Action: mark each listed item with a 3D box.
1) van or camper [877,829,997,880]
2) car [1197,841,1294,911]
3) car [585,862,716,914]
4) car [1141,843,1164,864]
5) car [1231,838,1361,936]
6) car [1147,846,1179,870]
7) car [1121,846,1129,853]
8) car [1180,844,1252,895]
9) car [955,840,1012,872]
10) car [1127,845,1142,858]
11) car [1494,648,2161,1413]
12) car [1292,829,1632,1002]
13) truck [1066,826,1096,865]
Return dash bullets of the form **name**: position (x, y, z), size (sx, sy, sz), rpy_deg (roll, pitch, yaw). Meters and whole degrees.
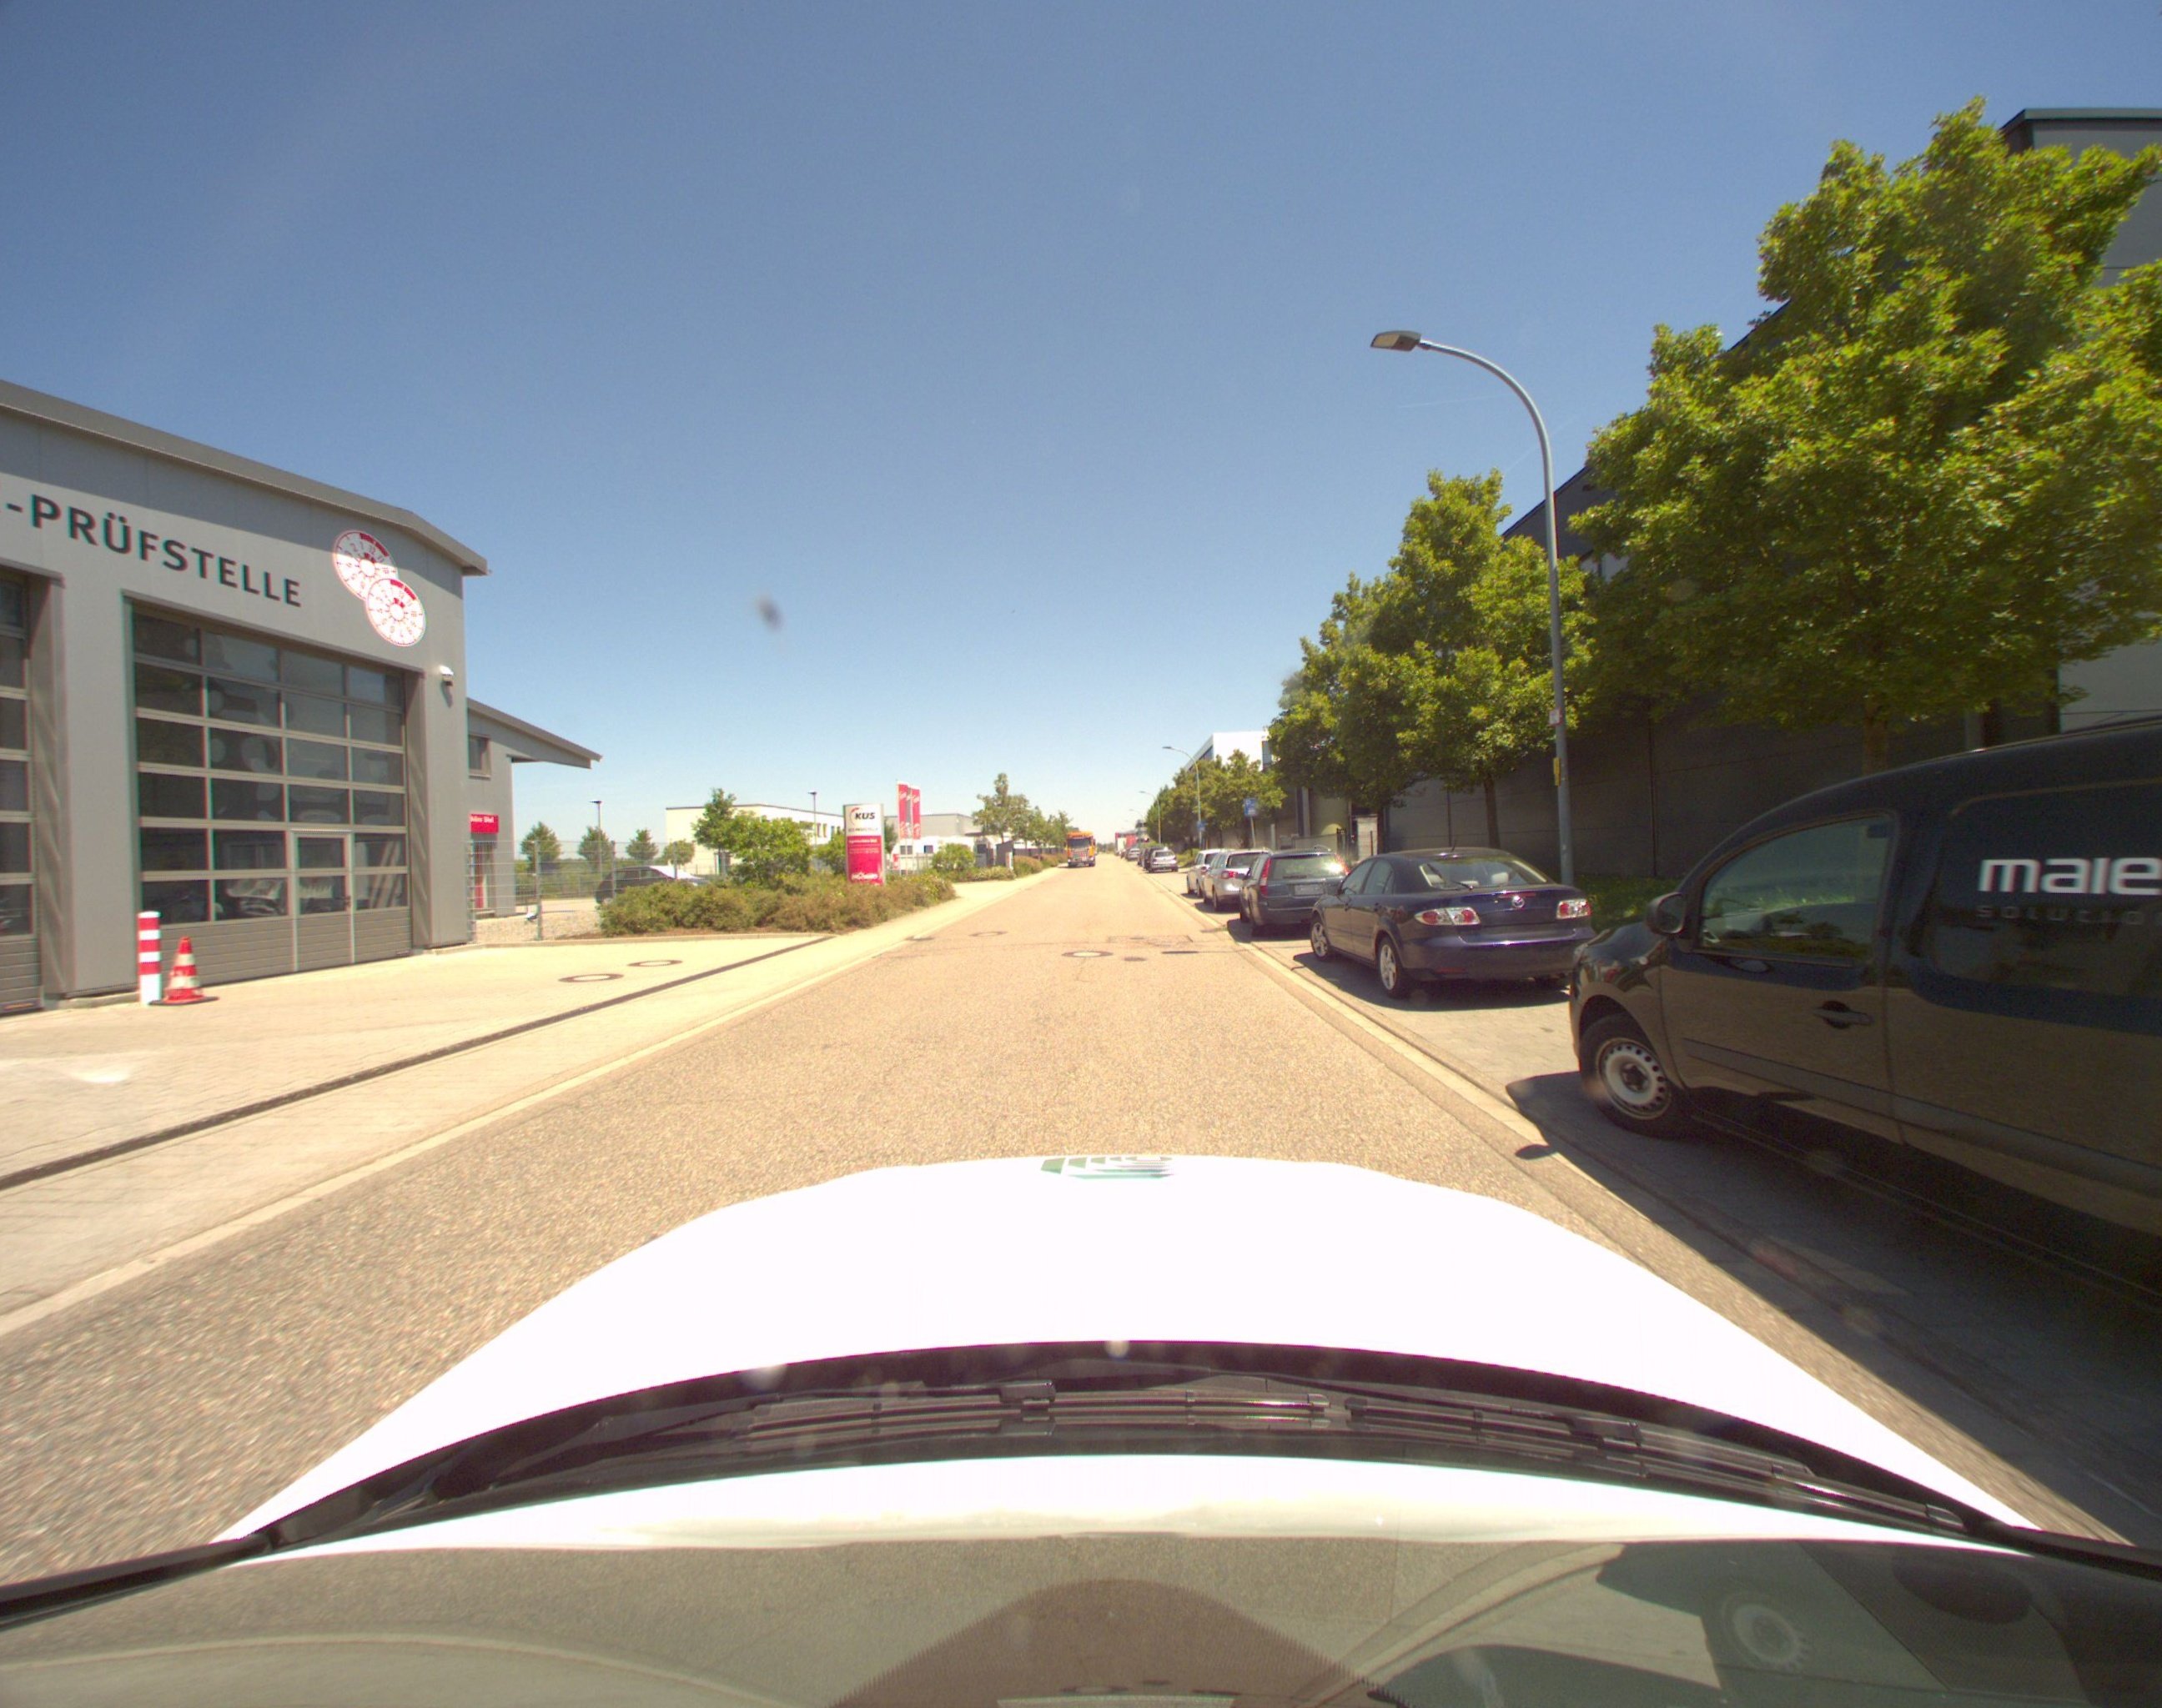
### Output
- **van or camper**: position (-9.532, 0.026, 54.475), size (7.359, 3.037, 2.791), rpy_deg (-2, 0, 1)
- **car**: position (4.140, 0.509, 21.209), size (1.741, 1.562, 4.509), rpy_deg (-3, 0, 3)
- **car**: position (-14.407, 1.116, 27.391), size (3.493, 1.552, 1.556), rpy_deg (-2, 0, -3)
- **car**: position (6.138, -0.029, 70.048), size (1.715, 1.694, 3.987), rpy_deg (-2, 0, 3)
- **car**: position (3.867, 0.537, 15.390), size (1.700, 1.504, 4.715), rpy_deg (-3, -1, 7)
- **car**: position (5.241, 0.246, 52.249), size (1.712, 1.450, 3.647), rpy_deg (-3, 0, 2)
- **car**: position (8.879, -0.844, 163.600), size (1.489, 1.409, 3.501), rpy_deg (-2, 0, 2)
- **car**: position (4.360, 0.470, 26.839), size (1.631, 1.469, 3.744), rpy_deg (-3, 0, -1)
- **car**: position (-8.443, 0.159, 70.774), size (4.703, 2.586, 1.998), rpy_deg (-2, 0, -3)
- **car**: position (6.481, -0.294, 99.224), size (1.579, 1.409, 3.501), rpy_deg (-2, 0, 2)
- **car**: position (3.583, 0.395, 2.954), size (1.986, 1.825, 4.355), rpy_deg (-3, -1, 1)
- **car**: position (3.921, 0.553, 9.449), size (1.843, 1.431, 4.715), rpy_deg (-3, -1, 2)
- **truck**: position (0.078, -0.818, 79.585), size (2.439, 3.513, 8.276), rpy_deg (-3, 0, 2)
